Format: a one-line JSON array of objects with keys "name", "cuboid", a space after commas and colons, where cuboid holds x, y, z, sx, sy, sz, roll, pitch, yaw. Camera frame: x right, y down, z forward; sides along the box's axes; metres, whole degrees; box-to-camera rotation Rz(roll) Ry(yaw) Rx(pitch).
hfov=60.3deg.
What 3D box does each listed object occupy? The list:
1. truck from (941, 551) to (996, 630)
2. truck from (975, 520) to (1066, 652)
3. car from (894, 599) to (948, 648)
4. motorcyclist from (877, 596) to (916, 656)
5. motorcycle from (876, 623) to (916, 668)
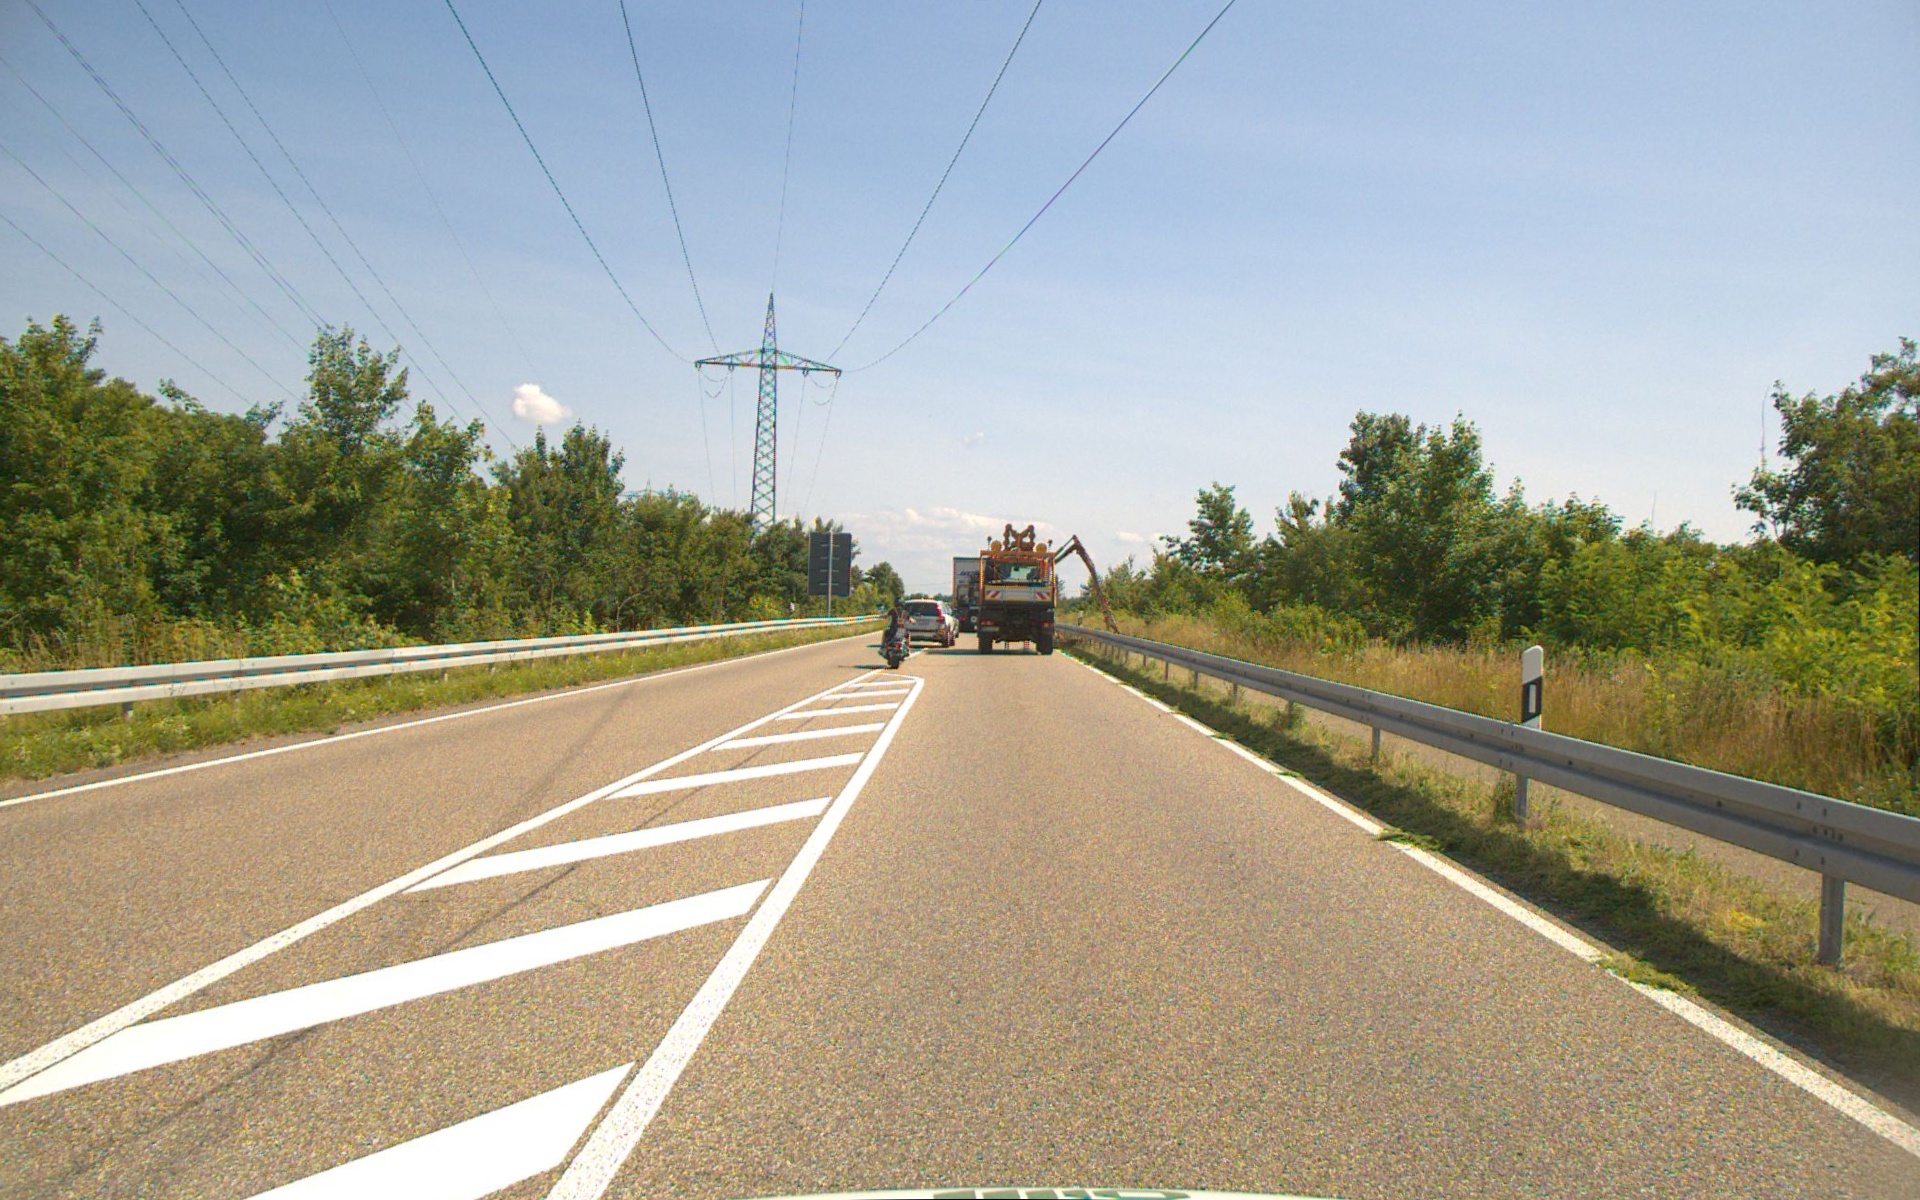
[{"name": "truck", "cuboid": [0.613, -0.533, 97.773, 2.906, 4.260, 14.823, 1, 0, 1]}, {"name": "truck", "cuboid": [1.805, -0.410, 51.034, 2.560, 3.776, 6.778, 1, 0, 1]}, {"name": "car", "cuboid": [-1.263, 0.751, 55.119, 1.666, 1.563, 3.499, 1, 0, 0]}, {"name": "motorcyclist", "cuboid": [-1.417, 0.581, 37.014, 0.820, 1.303, 0.919, 1, 0, -1]}, {"name": "motorcycle", "cuboid": [-1.419, 1.001, 36.891, 0.841, 0.931, 2.227, 0, 0, -1]}]
